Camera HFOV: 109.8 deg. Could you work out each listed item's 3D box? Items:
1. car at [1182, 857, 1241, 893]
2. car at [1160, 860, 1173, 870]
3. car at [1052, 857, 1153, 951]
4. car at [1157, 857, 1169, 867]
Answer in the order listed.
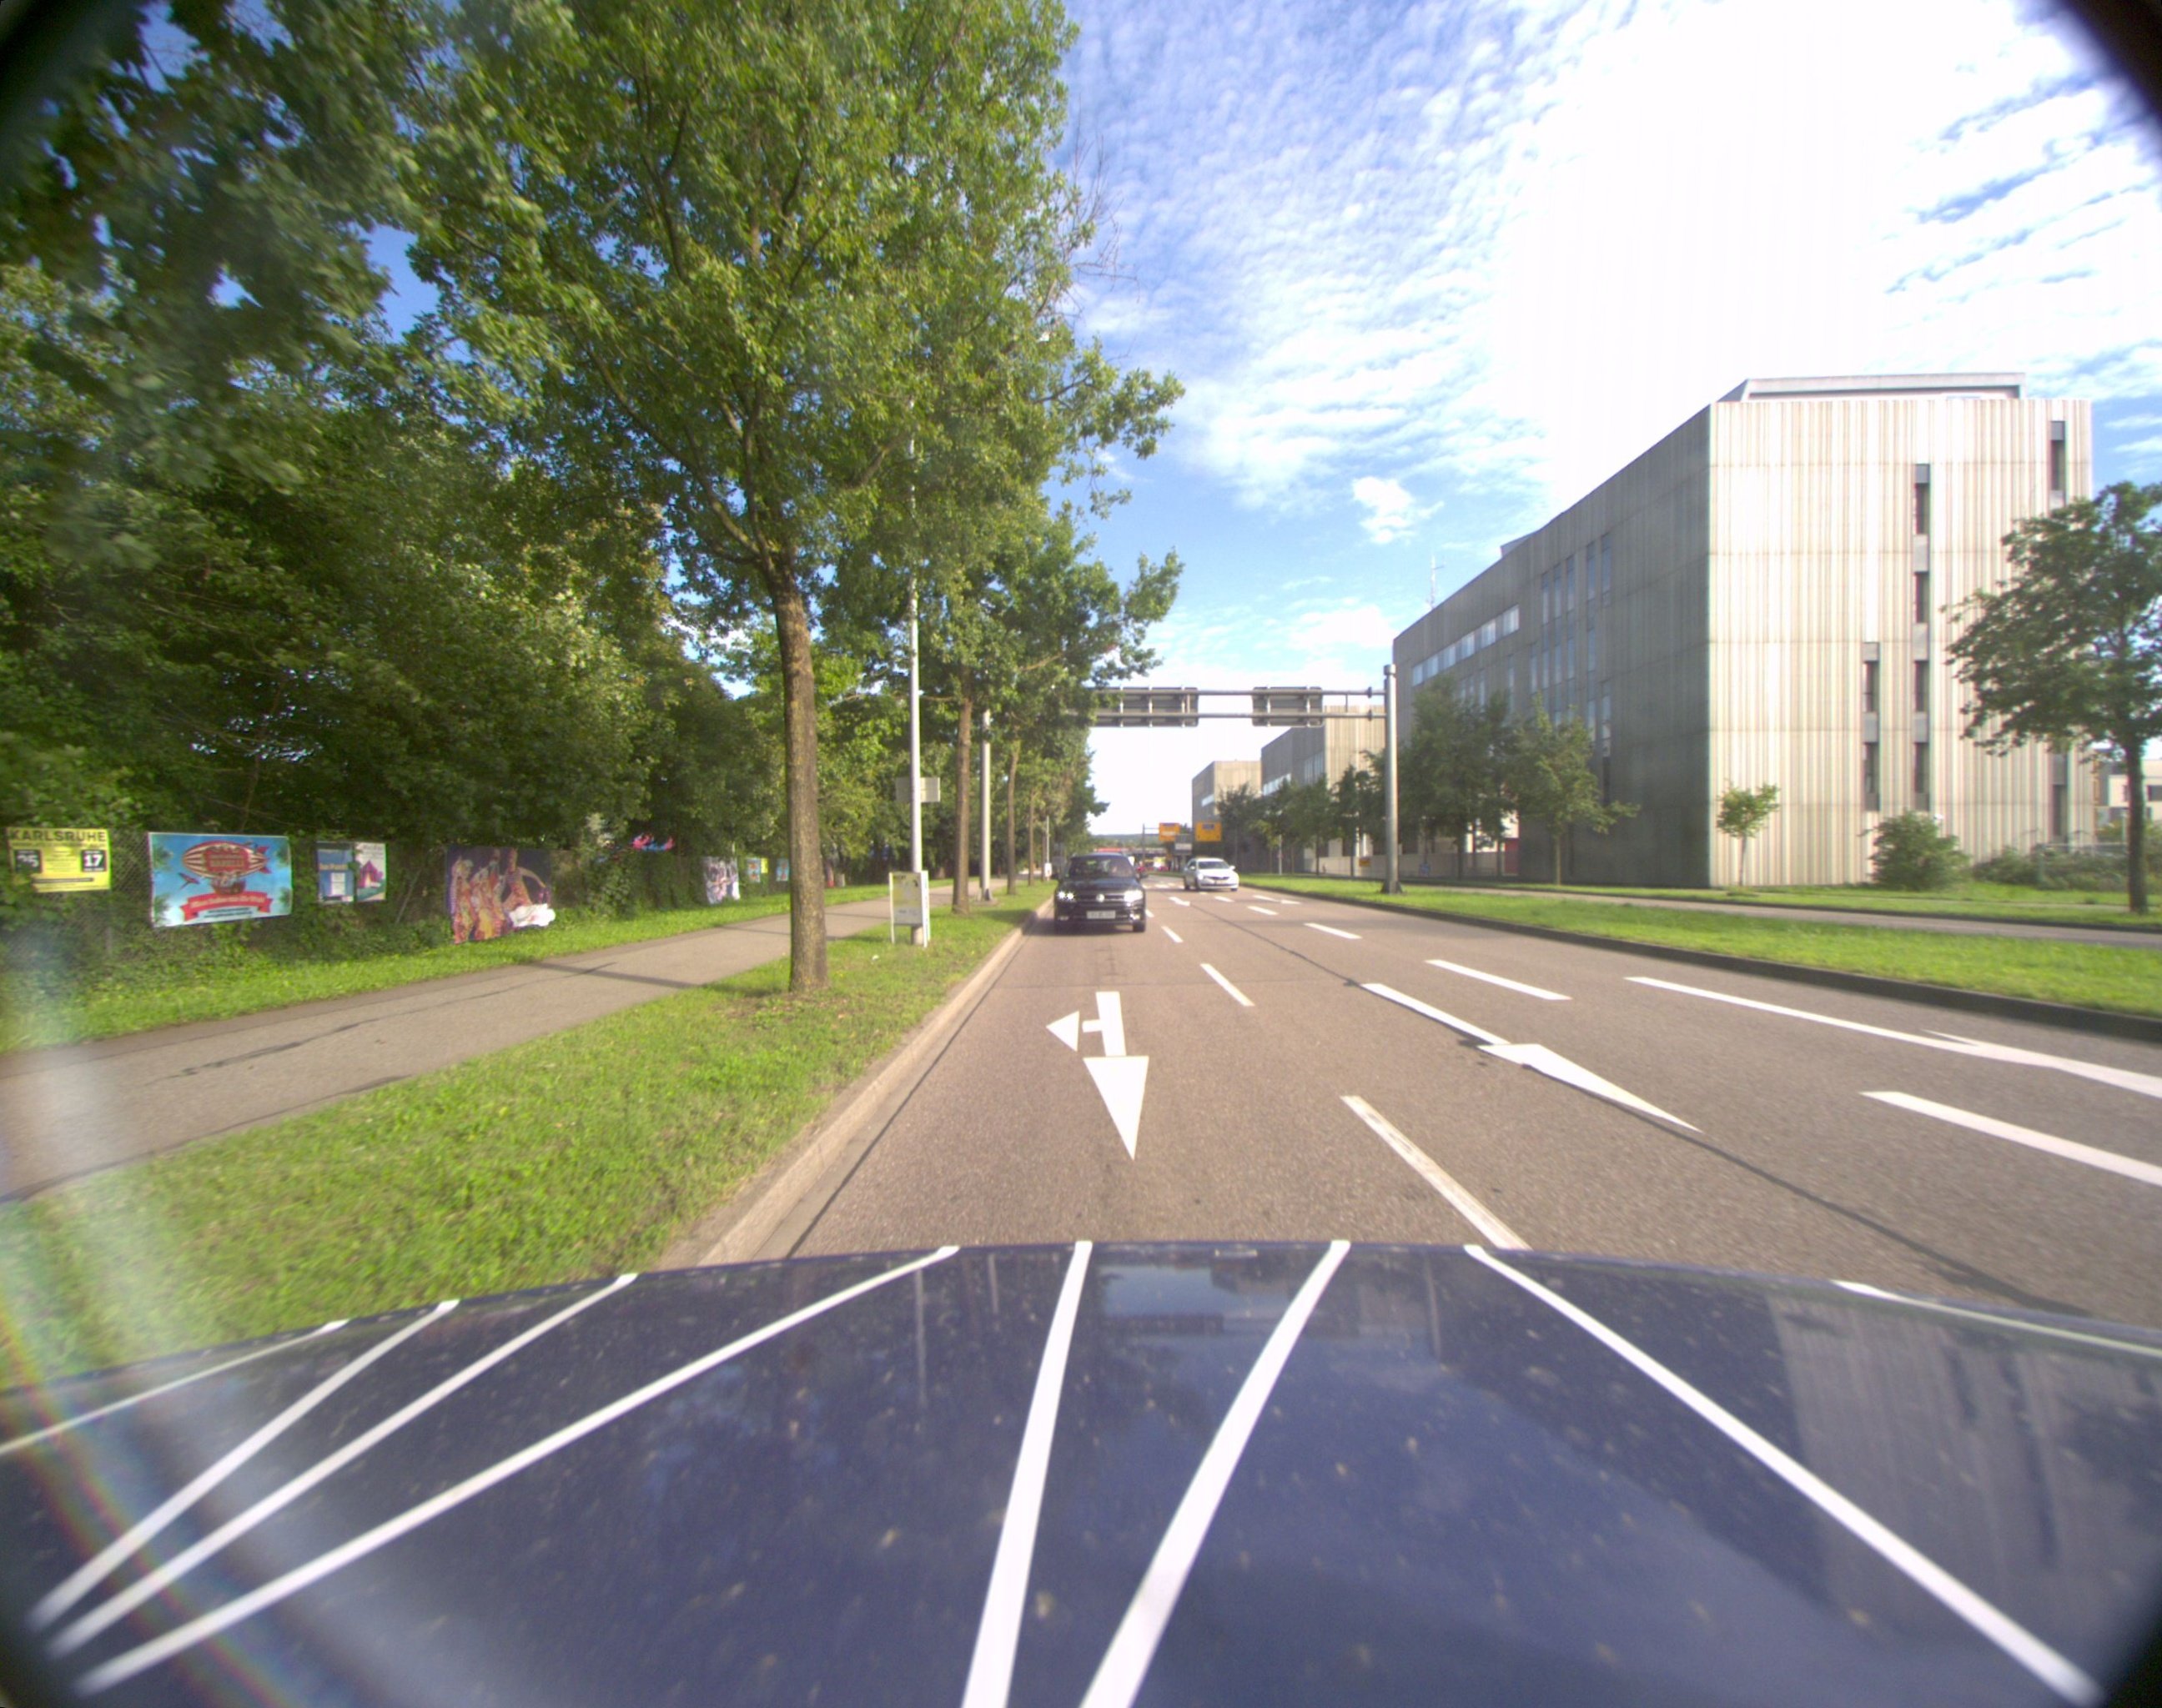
[{"bbox_3d":[5.801,0.890,34.191,1.703,1.489,4.480,-1,0,-2],"label":"car"},{"bbox_3d":[15.907,2.036,141.726,1.998,2.002,4.000,0,0,0],"label":"car"},{"bbox_3d":[0.429,0.910,15.684,1.775,1.637,3.869,-2,0,1],"label":"car"},{"bbox_3d":[16.875,1.671,156.928,1.998,2.002,3.983,0,0,0],"label":"car"}]
